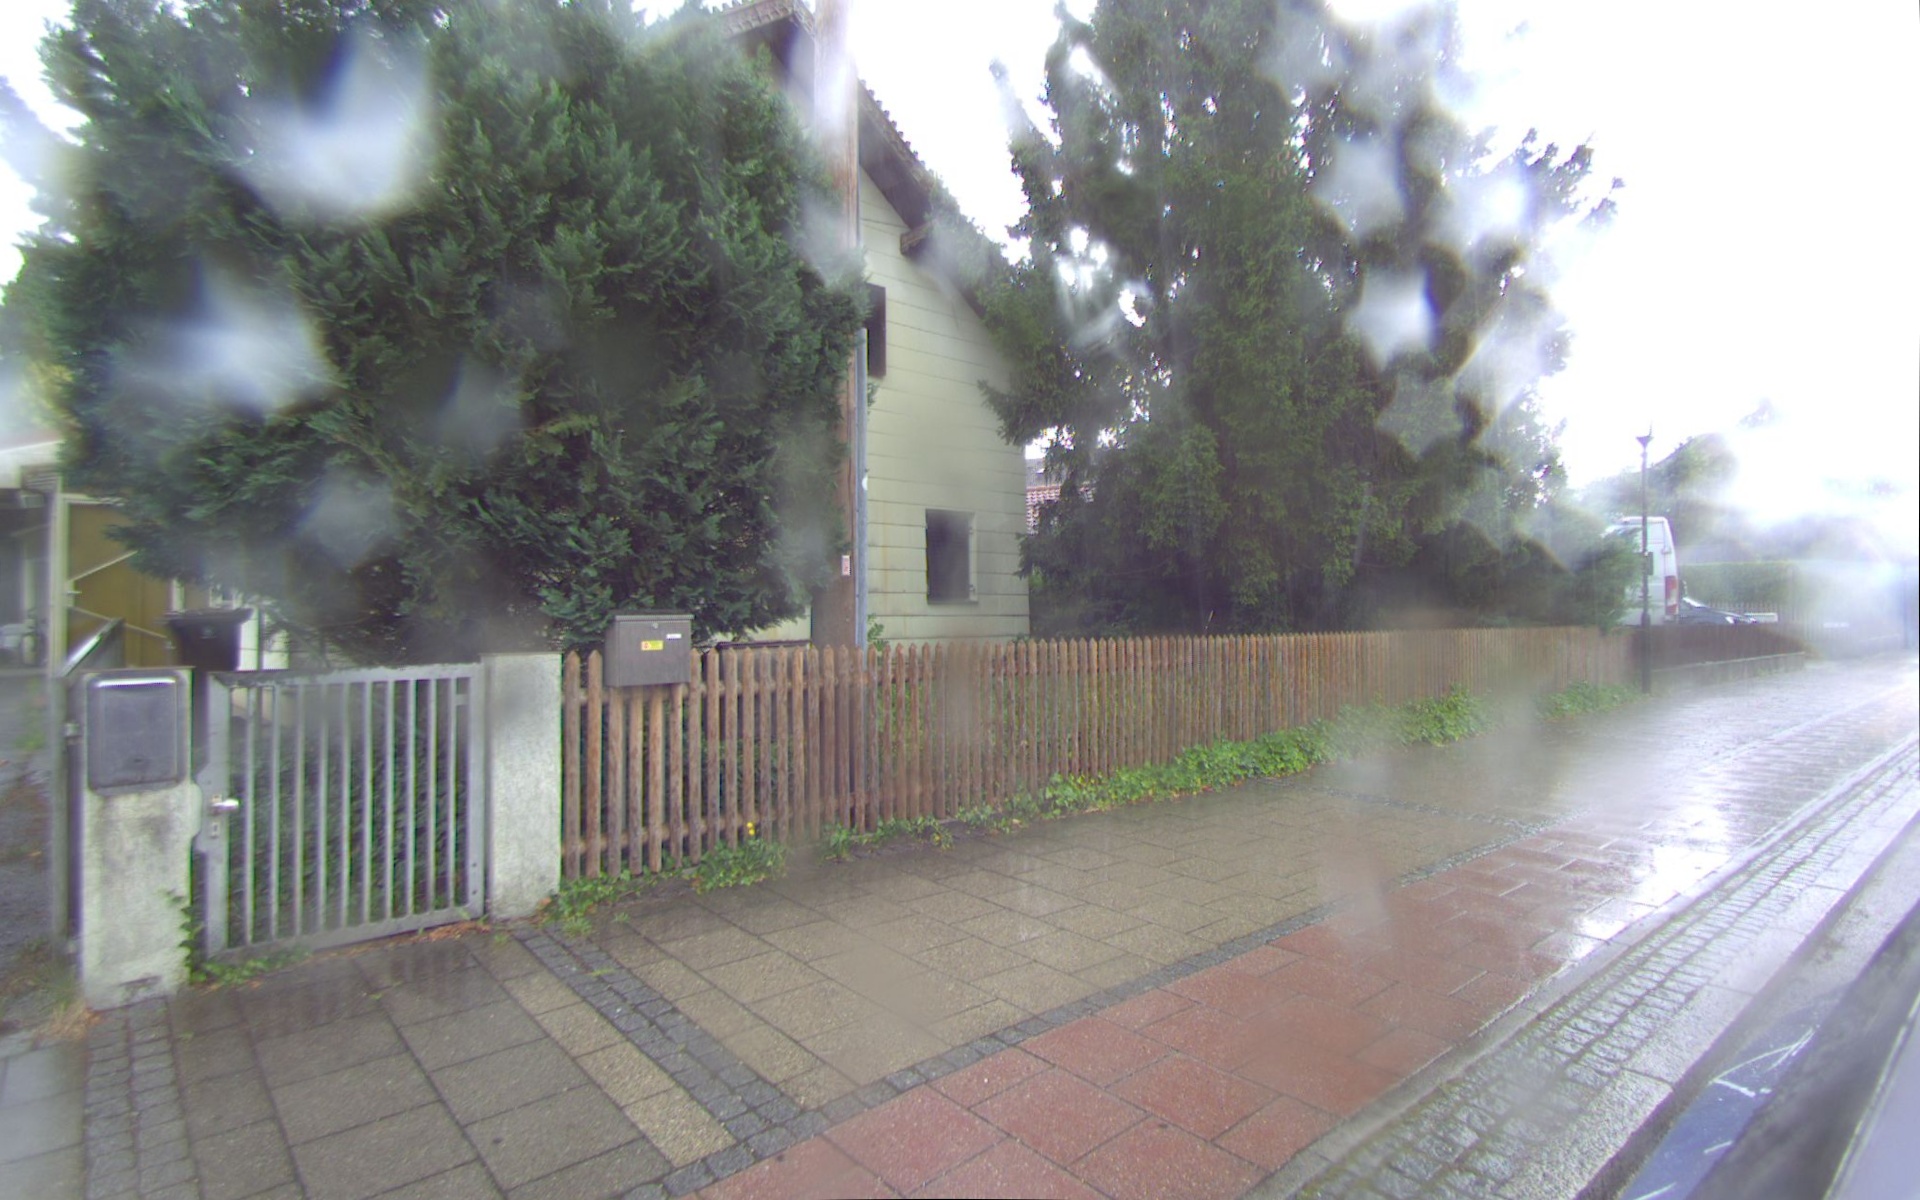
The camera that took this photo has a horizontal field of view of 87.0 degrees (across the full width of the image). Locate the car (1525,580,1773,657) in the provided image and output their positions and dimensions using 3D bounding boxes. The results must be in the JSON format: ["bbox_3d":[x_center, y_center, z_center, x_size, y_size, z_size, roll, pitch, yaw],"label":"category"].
[{"bbox_3d":[15.502,0.339,22.927,4.428,1.438,1.803,3,3,42],"label":"car"}]

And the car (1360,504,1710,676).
[{"bbox_3d":[10.463,-0.268,18.722,5.298,2.761,1.971,3,2,41],"label":"car"}]
